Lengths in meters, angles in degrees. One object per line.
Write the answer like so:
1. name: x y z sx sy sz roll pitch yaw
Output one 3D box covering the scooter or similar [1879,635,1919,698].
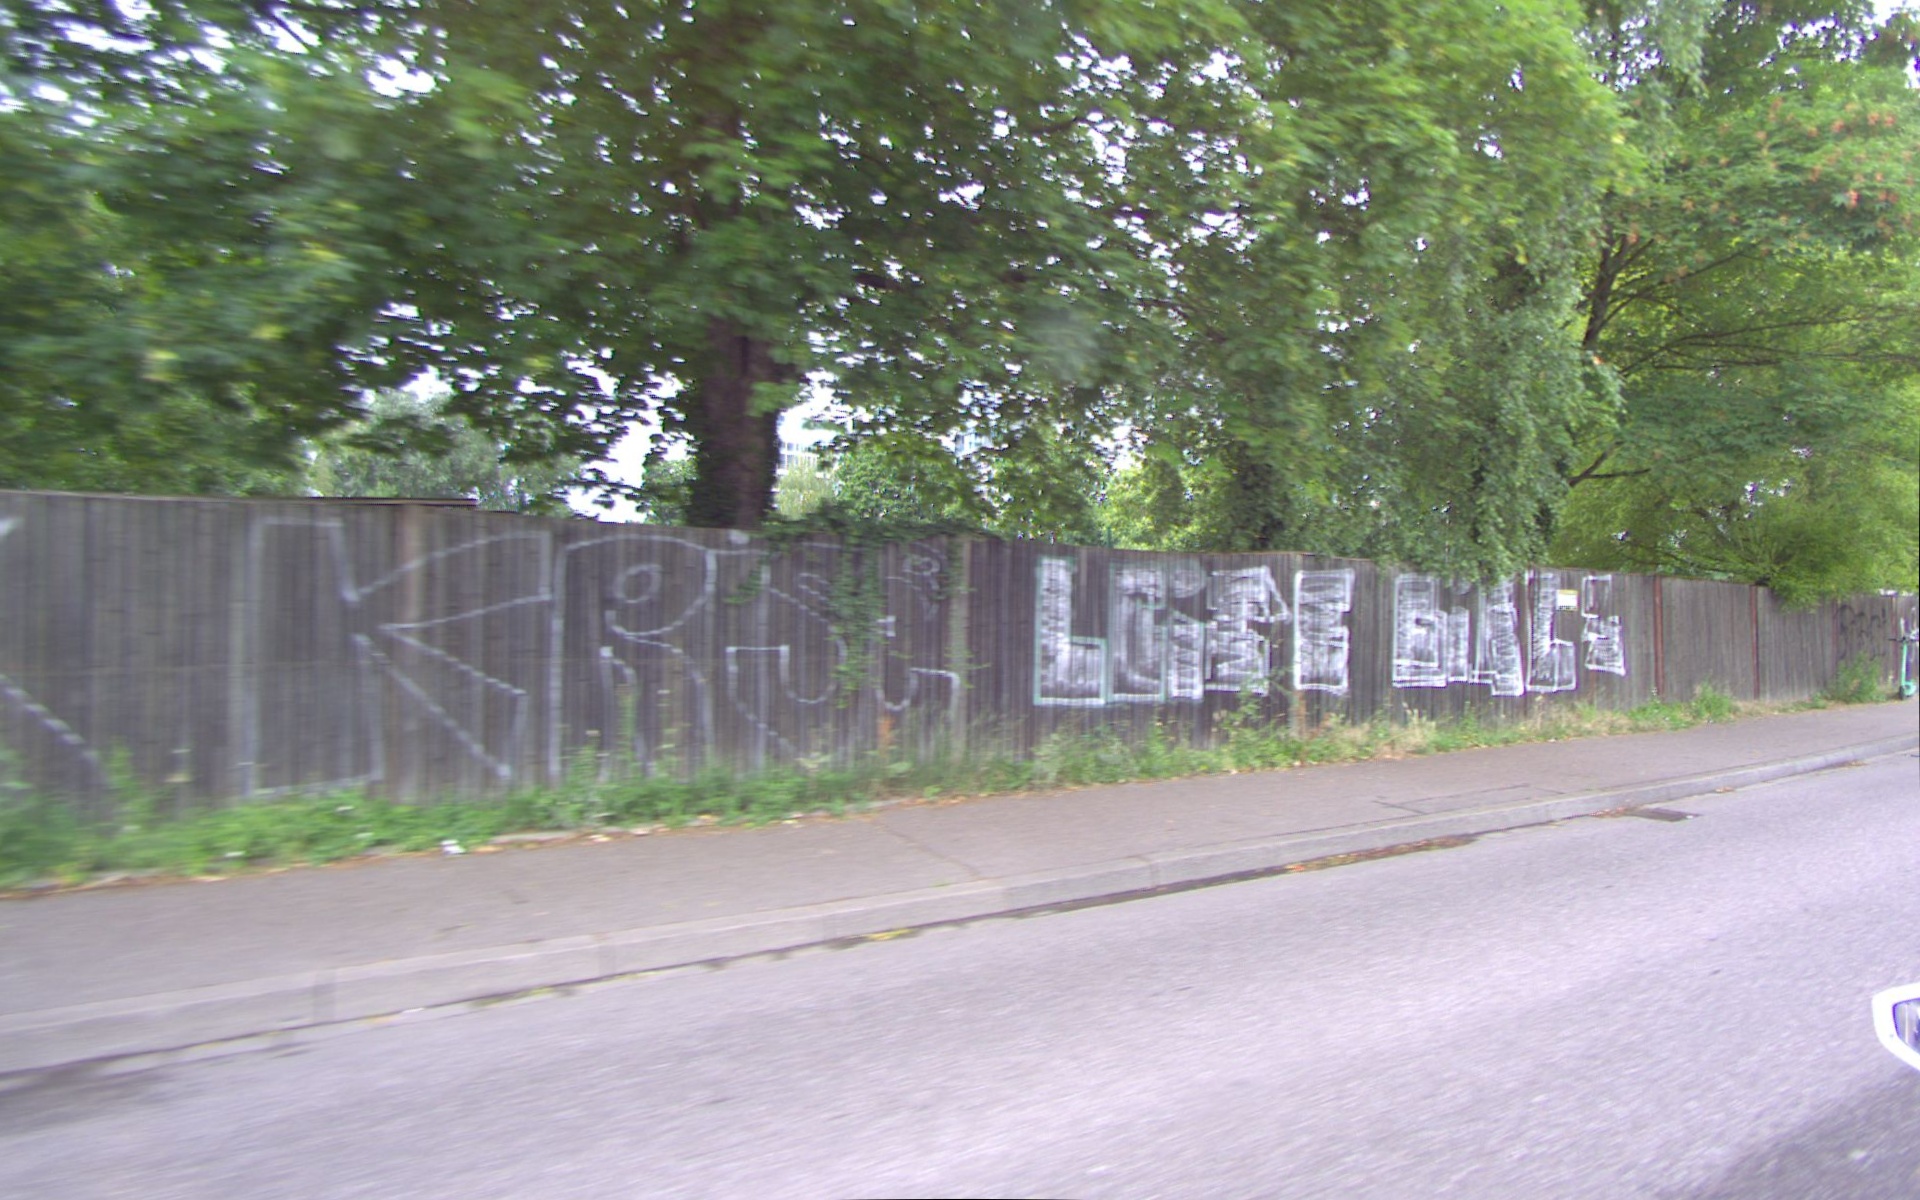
1. scooter or similar: 18.244 1.268 19.437 1.290 1.186 0.420 1 -1 -35
